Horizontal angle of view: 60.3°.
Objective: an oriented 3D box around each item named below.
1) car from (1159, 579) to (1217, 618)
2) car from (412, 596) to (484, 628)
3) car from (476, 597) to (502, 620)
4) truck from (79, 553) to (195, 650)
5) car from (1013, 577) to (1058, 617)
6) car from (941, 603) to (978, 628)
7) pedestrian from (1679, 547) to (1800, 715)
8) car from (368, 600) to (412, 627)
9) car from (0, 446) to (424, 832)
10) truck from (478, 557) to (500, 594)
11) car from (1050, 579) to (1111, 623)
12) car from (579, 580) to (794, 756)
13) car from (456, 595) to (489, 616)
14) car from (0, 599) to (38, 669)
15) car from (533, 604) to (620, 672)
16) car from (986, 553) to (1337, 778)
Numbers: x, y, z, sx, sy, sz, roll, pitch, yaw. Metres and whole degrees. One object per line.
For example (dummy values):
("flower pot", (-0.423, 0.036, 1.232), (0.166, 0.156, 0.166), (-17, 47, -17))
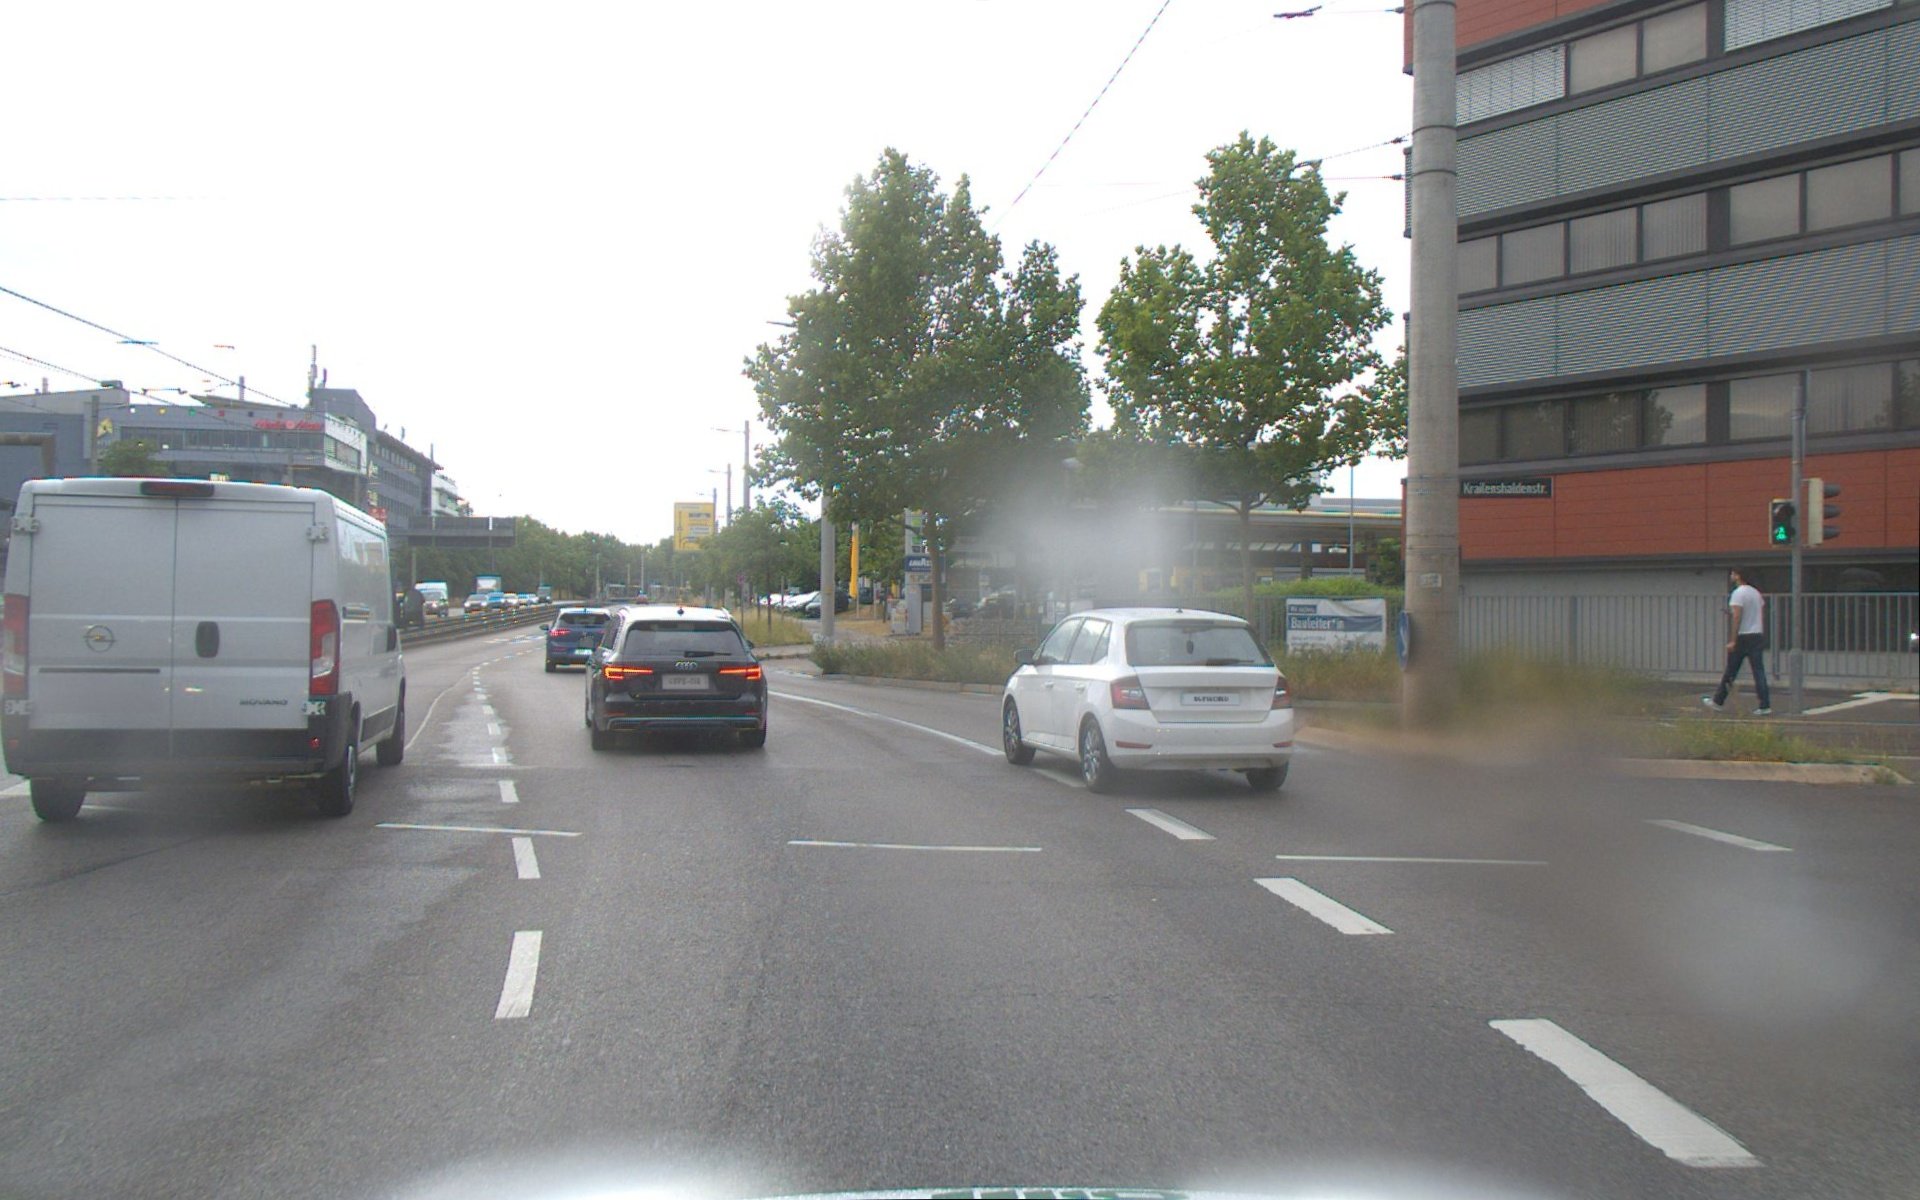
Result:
("car", (12.519, -0.072, 90.987), (1.838, 2.049, 3.760), (3, -1, -14))
("car", (-34.163, 0.829, 110.482), (2.117, 1.918, 4.296), (2, -1, 27))
("car", (-43.301, 0.778, 152.160), (2.123, 1.918, 4.284), (3, -1, -15))
("truck", (-34.522, 0.087, 69.548), (2.694, 3.872, 5.402), (-1, -1, -7))
("car", (4.027, -0.148, 88.426), (1.648, 2.049, 3.534), (3, -1, -9))
("car", (-0.060, 1.033, 111.651), (1.759, 1.619, 3.989), (0, 0, -11))
("pedestrian", (10.348, 0.389, 22.011), (1.119, 2.162, 1.223), (-1, 1, 7))
("car", (-38.703, 0.942, 112.420), (2.122, 1.531, 4.288), (8, -3, -12))
("car", (-5.571, 0.243, 12.595), (2.403, 2.334, 4.888), (-1, 0, -13))
("truck", (-50.308, -2.562, 176.642), (2.123, 3.709, 6.843), (3, -1, -16))
("car", (5.758, 0.033, 79.491), (1.957, 2.068, 3.990), (0, 0, -10))
("car", (-3.061, 0.638, 17.840), (1.960, 1.666, 3.985), (0, 0, -14))
("car", (-39.705, 0.456, 134.849), (1.766, 1.649, 4.948), (0, 0, -7))
("car", (-27.861, 0.966, 45.890), (1.954, 1.869, 4.906), (2, 1, -3))
("car", (-8.892, 0.864, 38.599), (1.860, 1.491, 3.897), (1, -1, -12))
("car", (1.597, 0.530, 14.569), (1.797, 1.685, 3.986), (1, -1, -13))
